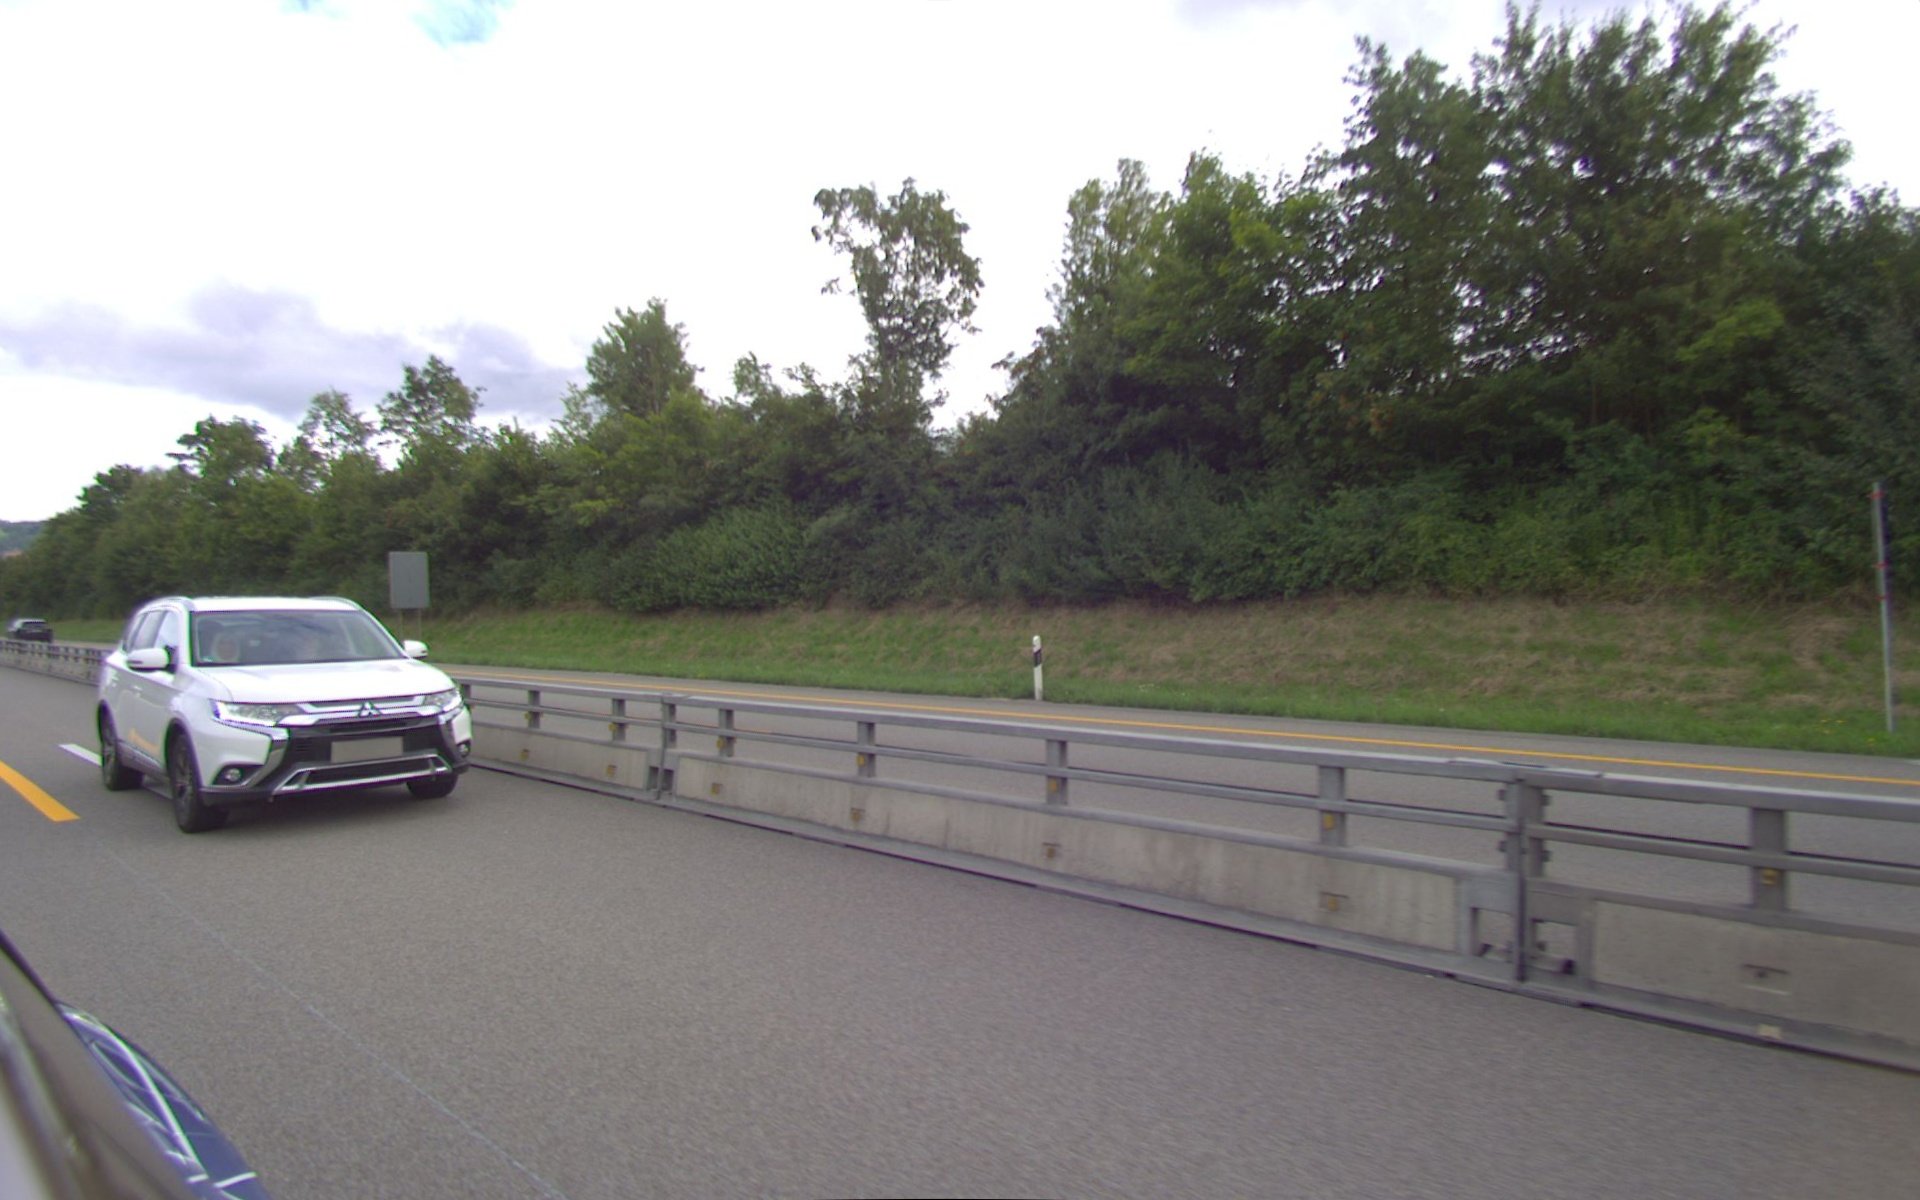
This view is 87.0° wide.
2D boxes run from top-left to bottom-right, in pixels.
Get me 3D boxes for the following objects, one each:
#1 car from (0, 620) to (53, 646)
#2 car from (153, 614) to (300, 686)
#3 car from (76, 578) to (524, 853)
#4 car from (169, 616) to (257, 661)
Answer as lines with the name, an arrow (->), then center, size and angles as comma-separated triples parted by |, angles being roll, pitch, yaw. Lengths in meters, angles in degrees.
car -> -59.502, 2.068, 64.477 | 5.022, 1.535, 1.973 | -1, 0, 41
car -> -16.730, 1.081, 23.001 | 4.548, 1.465, 1.678 | -1, -1, 40
car -> -5.606, 0.728, 8.324 | 4.605, 1.640, 1.972 | -1, -1, 42
car -> -26.846, 1.359, 36.325 | 3.956, 1.465, 1.678 | -1, 0, 40
